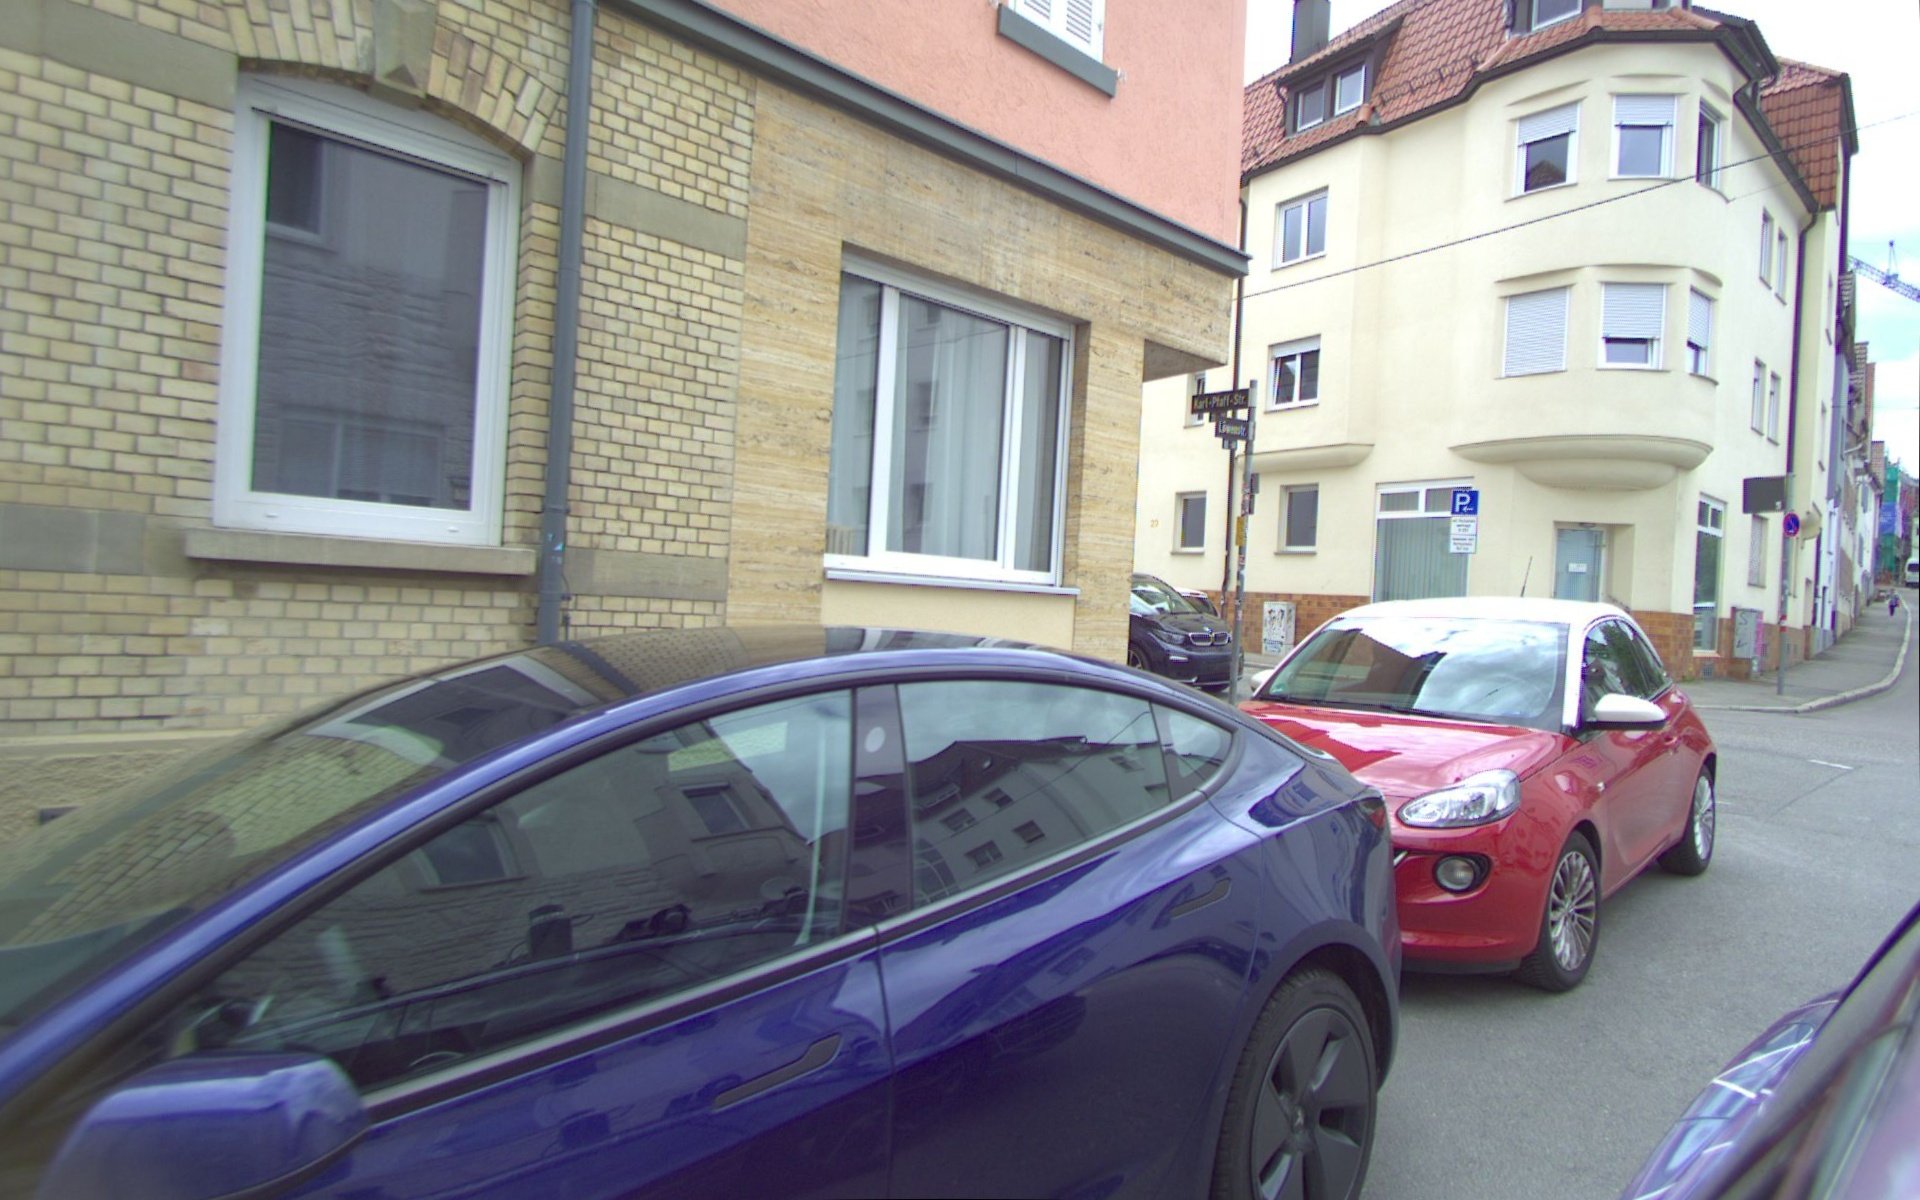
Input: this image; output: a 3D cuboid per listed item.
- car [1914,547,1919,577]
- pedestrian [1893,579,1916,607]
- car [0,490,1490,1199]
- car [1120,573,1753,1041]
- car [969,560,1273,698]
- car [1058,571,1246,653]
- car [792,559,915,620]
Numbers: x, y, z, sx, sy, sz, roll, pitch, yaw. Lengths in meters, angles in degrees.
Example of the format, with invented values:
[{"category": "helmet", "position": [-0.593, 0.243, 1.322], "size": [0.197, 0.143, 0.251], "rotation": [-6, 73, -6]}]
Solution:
[{"category": "car", "position": [87.683, -3.359, 91.263], "size": [2.188, 2.677, 5.736], "rotation": [5, 4, 43]}, {"category": "pedestrian", "position": [51.836, -0.365, 55.539], "size": [0.751, 1.507, 0.560], "rotation": [2, 1, 31]}, {"category": "car", "position": [-0.806, 0.617, 1.989], "size": [4.216, 1.421, 1.856], "rotation": [0, 0, -40]}, {"category": "car", "position": [2.593, 0.655, 5.121], "size": [3.564, 1.497, 1.670], "rotation": [0, 2, -43]}, {"category": "car", "position": [2.069, 0.283, 14.040], "size": [1.790, 1.562, 4.027], "rotation": [0, 2, -37]}, {"category": "car", "position": [3.959, 0.209, 21.461], "size": [1.640, 1.452, 3.818], "rotation": [4, 0, -34]}, {"category": "car", "position": [-3.255, -0.349, 30.090], "size": [1.723, 1.474, 4.374], "rotation": [6, 0, -33]}]
